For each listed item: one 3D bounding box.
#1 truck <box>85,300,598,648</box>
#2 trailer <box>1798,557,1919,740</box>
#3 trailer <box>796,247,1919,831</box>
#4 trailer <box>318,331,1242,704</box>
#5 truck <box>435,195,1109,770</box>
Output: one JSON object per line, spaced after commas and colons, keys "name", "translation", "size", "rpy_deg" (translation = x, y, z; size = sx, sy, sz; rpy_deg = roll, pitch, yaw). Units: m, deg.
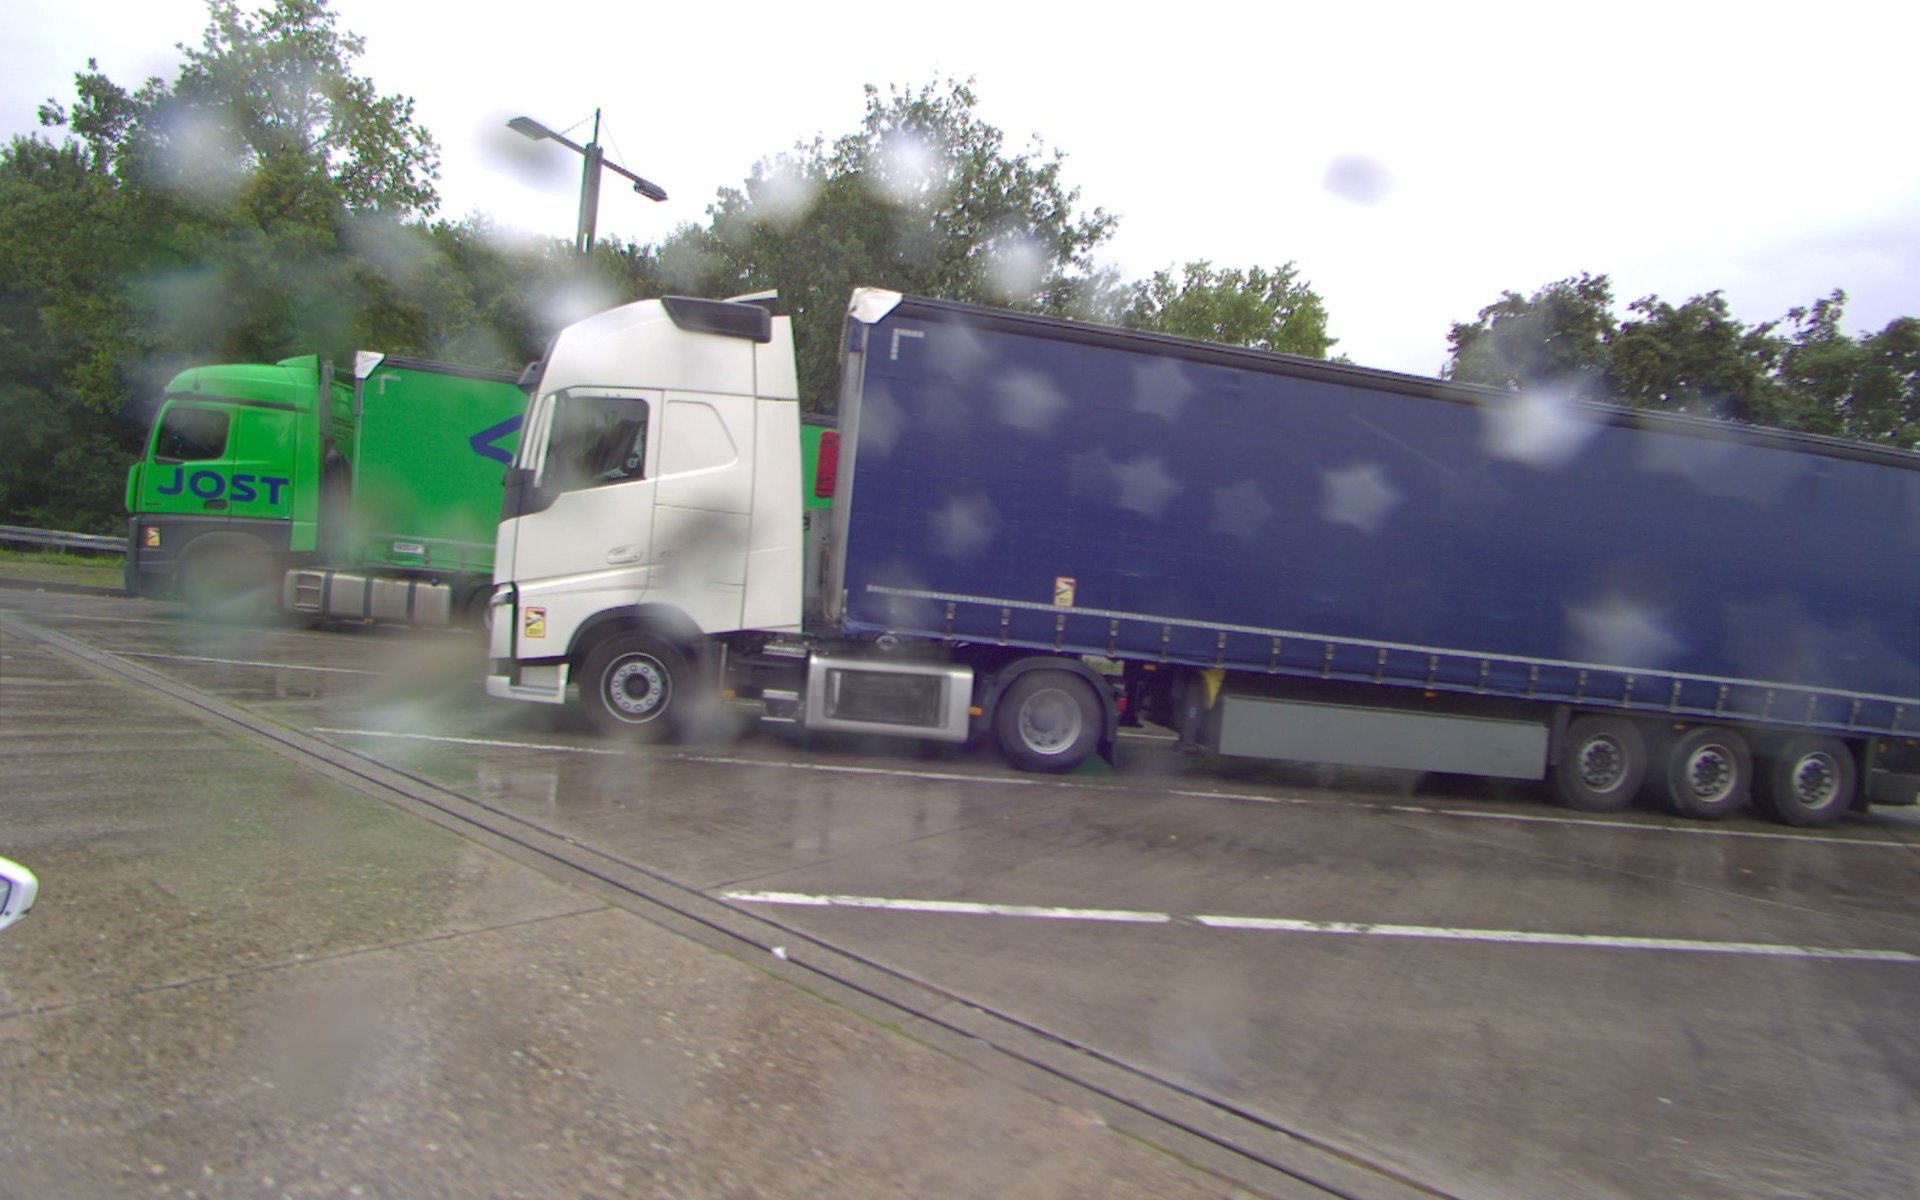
{"name": "truck", "translation": [-9.111, -1.707, 15.600], "size": [5.897, 4.204, 2.819], "rpy_deg": [5, 2, -11]}
{"name": "trailer", "translation": [25.943, 1.460, 22.069], "size": [3.204, 4.532, 12.004], "rpy_deg": [6, 1, -10]}
{"name": "trailer", "translation": [5.327, -0.199, 11.029], "size": [13.755, 4.225, 2.820], "rpy_deg": [6, 1, -10]}
{"name": "trailer", "translation": [-2.447, -1.048, 16.905], "size": [13.734, 4.204, 2.819], "rpy_deg": [6, 1, -11]}
{"name": "truck", "translation": [-1.671, -0.873, 9.813], "size": [5.212, 4.200, 2.820], "rpy_deg": [5, 2, -10]}
